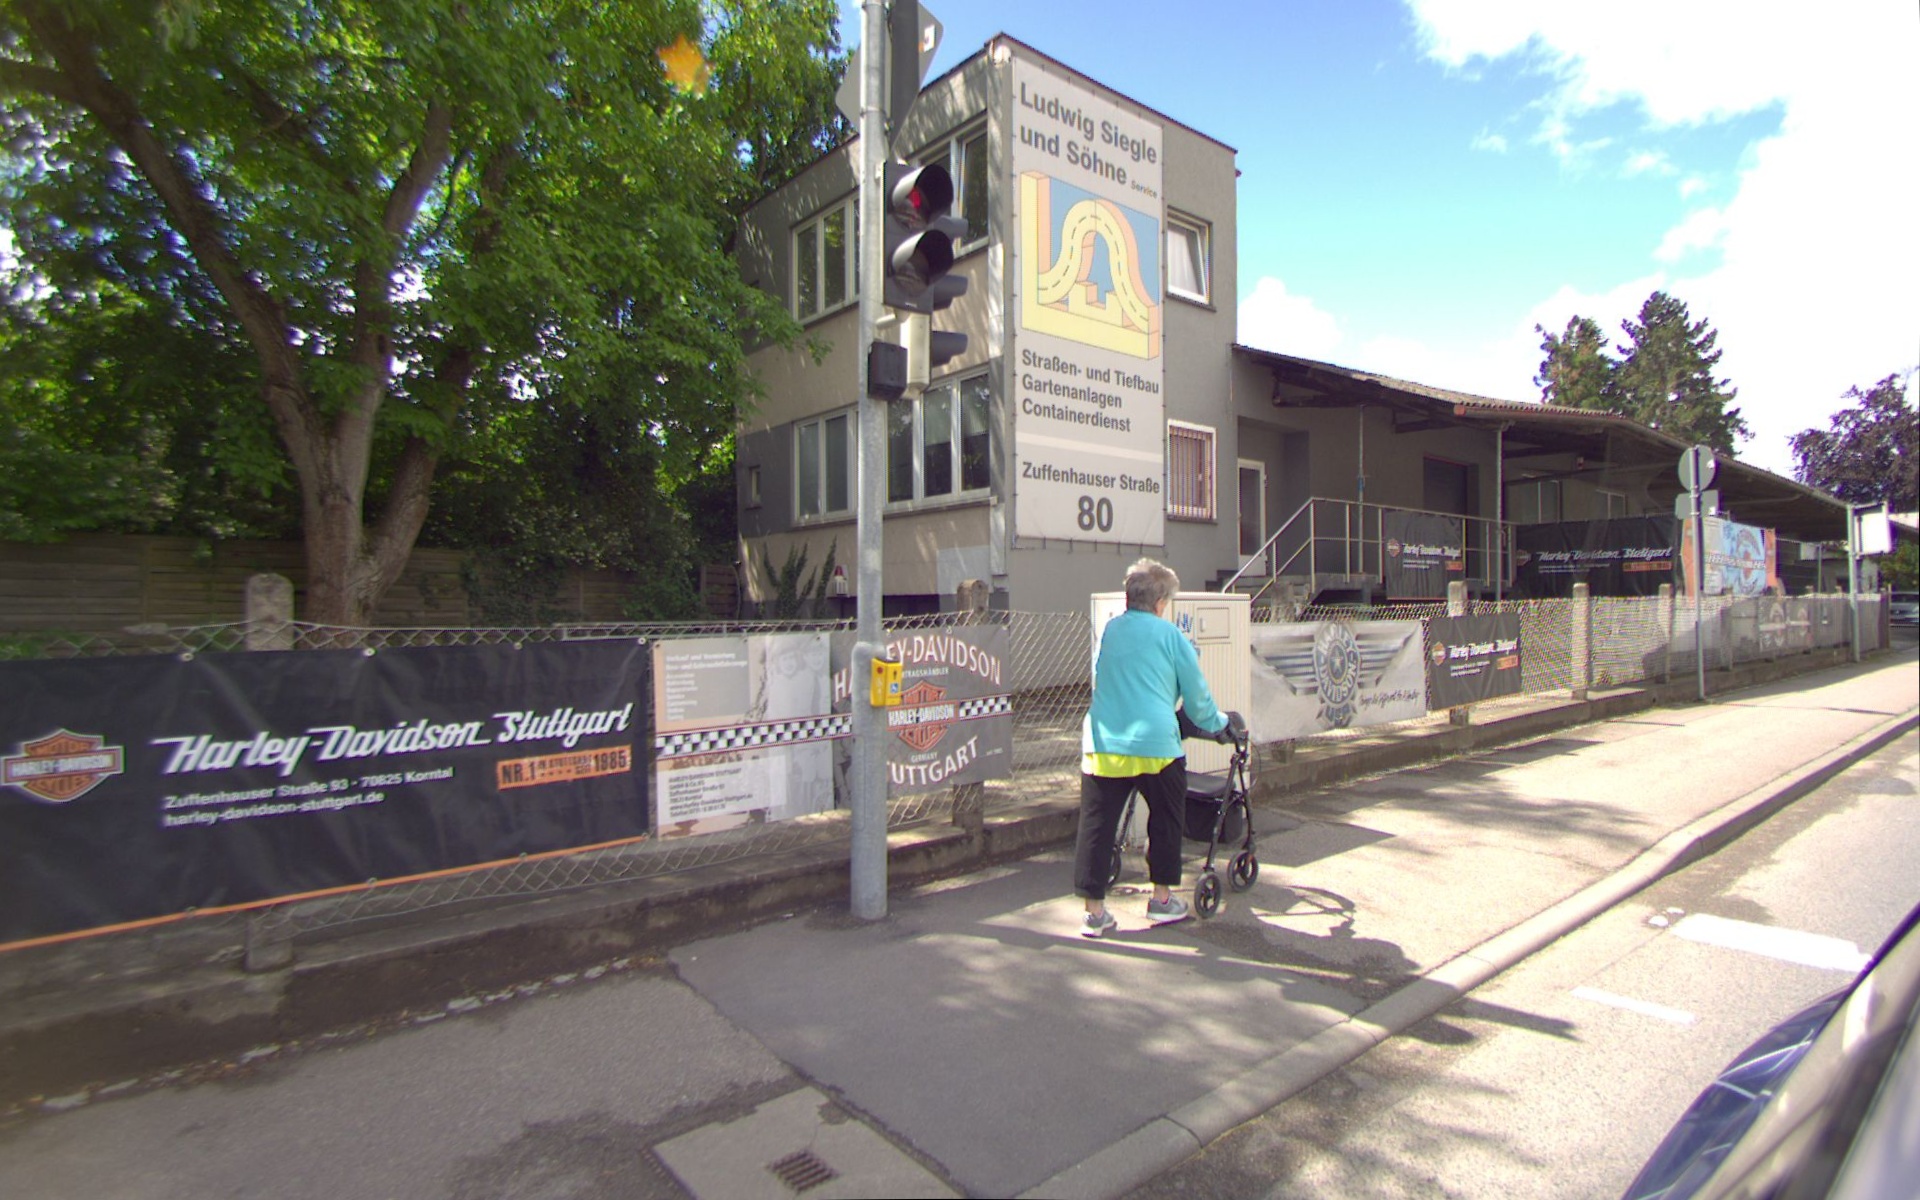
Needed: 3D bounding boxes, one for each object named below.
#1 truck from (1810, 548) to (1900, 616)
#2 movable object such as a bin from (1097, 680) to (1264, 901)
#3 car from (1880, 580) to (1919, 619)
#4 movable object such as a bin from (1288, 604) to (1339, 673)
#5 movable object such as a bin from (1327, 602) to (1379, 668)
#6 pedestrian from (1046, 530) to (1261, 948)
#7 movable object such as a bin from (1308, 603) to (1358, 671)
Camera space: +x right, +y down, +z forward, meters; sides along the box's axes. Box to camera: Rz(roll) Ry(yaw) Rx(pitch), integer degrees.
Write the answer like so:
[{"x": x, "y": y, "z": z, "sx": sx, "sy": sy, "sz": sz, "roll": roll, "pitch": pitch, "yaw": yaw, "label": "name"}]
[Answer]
[{"x": 39.731, "y": -0.782, "z": 44.884, "sx": 5.109, "sy": 2.864, "sz": 2.090, "roll": -1, "pitch": 0, "yaw": -39, "label": "truck"}, {"x": 1.071, "y": 0.857, "z": 4.832, "sx": 0.662, "sy": 0.882, "sz": 0.743, "roll": -1, "pitch": 0, "yaw": 21, "label": "movable object such as a bin"}, {"x": 39.664, "y": -0.061, "z": 41.641, "sx": 5.109, "sy": 1.549, "sz": 1.862, "roll": -1, "pitch": 0, "yaw": -39, "label": "car"}, {"x": 4.939, "y": 0.527, "z": 14.147, "sx": 0.466, "sy": 0.942, "sz": 0.482, "roll": -1, "pitch": 0, "yaw": -40, "label": "movable object such as a bin"}, {"x": 5.773, "y": 0.506, "z": 14.857, "sx": 0.573, "sy": 0.942, "sz": 0.482, "roll": -1, "pitch": 0, "yaw": -40, "label": "movable object such as a bin"}, {"x": 0.850, "y": 0.521, "z": 4.313, "sx": 0.725, "sy": 1.563, "sz": 0.835, "roll": -1, "pitch": 0, "yaw": 23, "label": "pedestrian"}, {"x": 5.334, "y": 0.517, "z": 14.482, "sx": 0.466, "sy": 0.942, "sz": 0.482, "roll": -1, "pitch": 0, "yaw": -40, "label": "movable object such as a bin"}]
